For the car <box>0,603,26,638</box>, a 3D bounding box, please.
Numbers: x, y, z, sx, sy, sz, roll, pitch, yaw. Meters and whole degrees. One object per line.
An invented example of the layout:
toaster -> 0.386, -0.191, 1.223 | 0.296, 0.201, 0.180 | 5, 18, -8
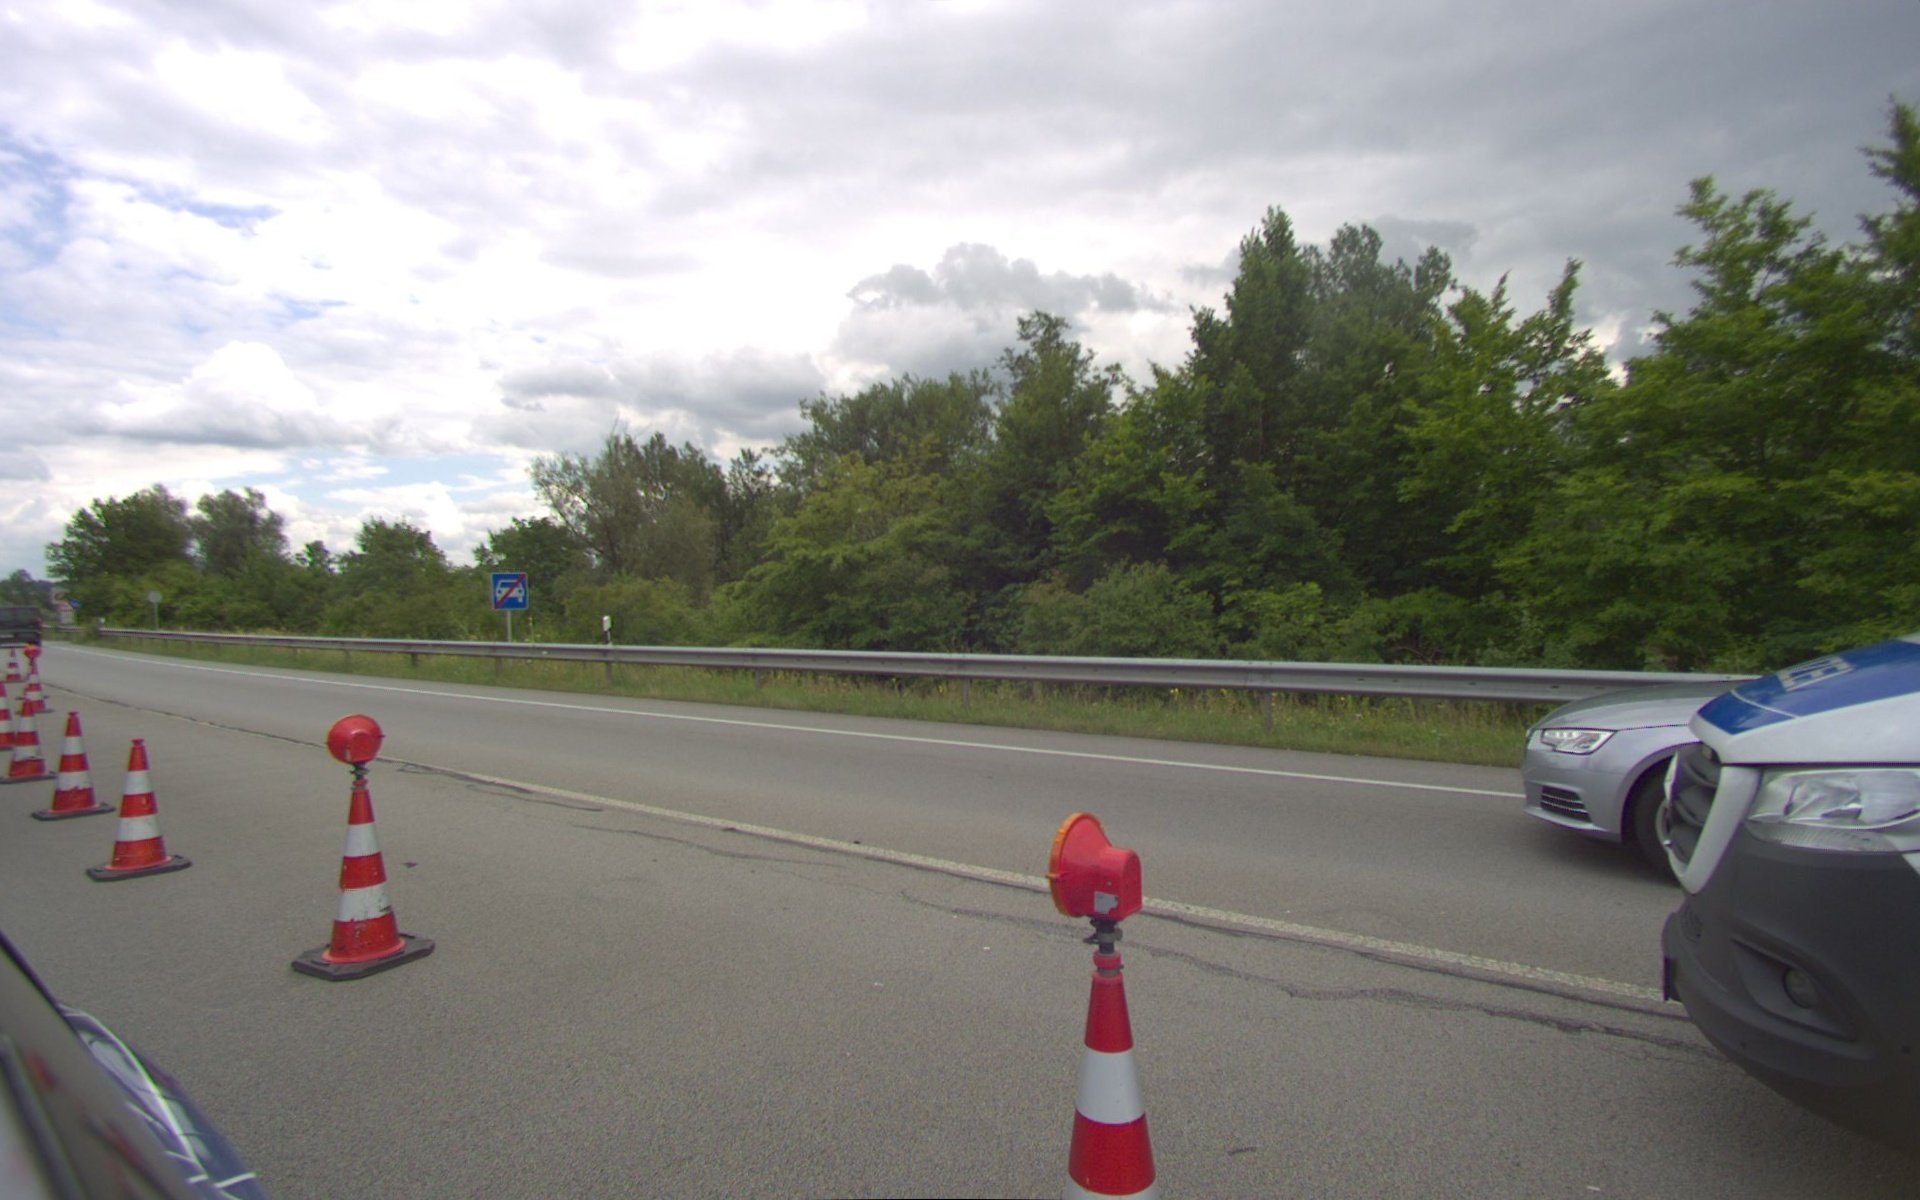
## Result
car -> -53.840, 1.165, 56.726 | 4.533, 1.898, 1.945 | -1, -1, 44

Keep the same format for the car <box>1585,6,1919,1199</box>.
car -> 4.055, 0.107, 1.365 | 5.271, 2.482, 2.010 | -1, -1, 38

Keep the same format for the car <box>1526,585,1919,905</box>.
car -> 5.235, 0.624, 4.791 | 4.361, 1.412, 1.665 | -1, 0, 33

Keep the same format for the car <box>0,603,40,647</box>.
car -> -45.148, 1.171, 47.827 | 5.315, 2.002, 2.007 | -1, -1, 43
